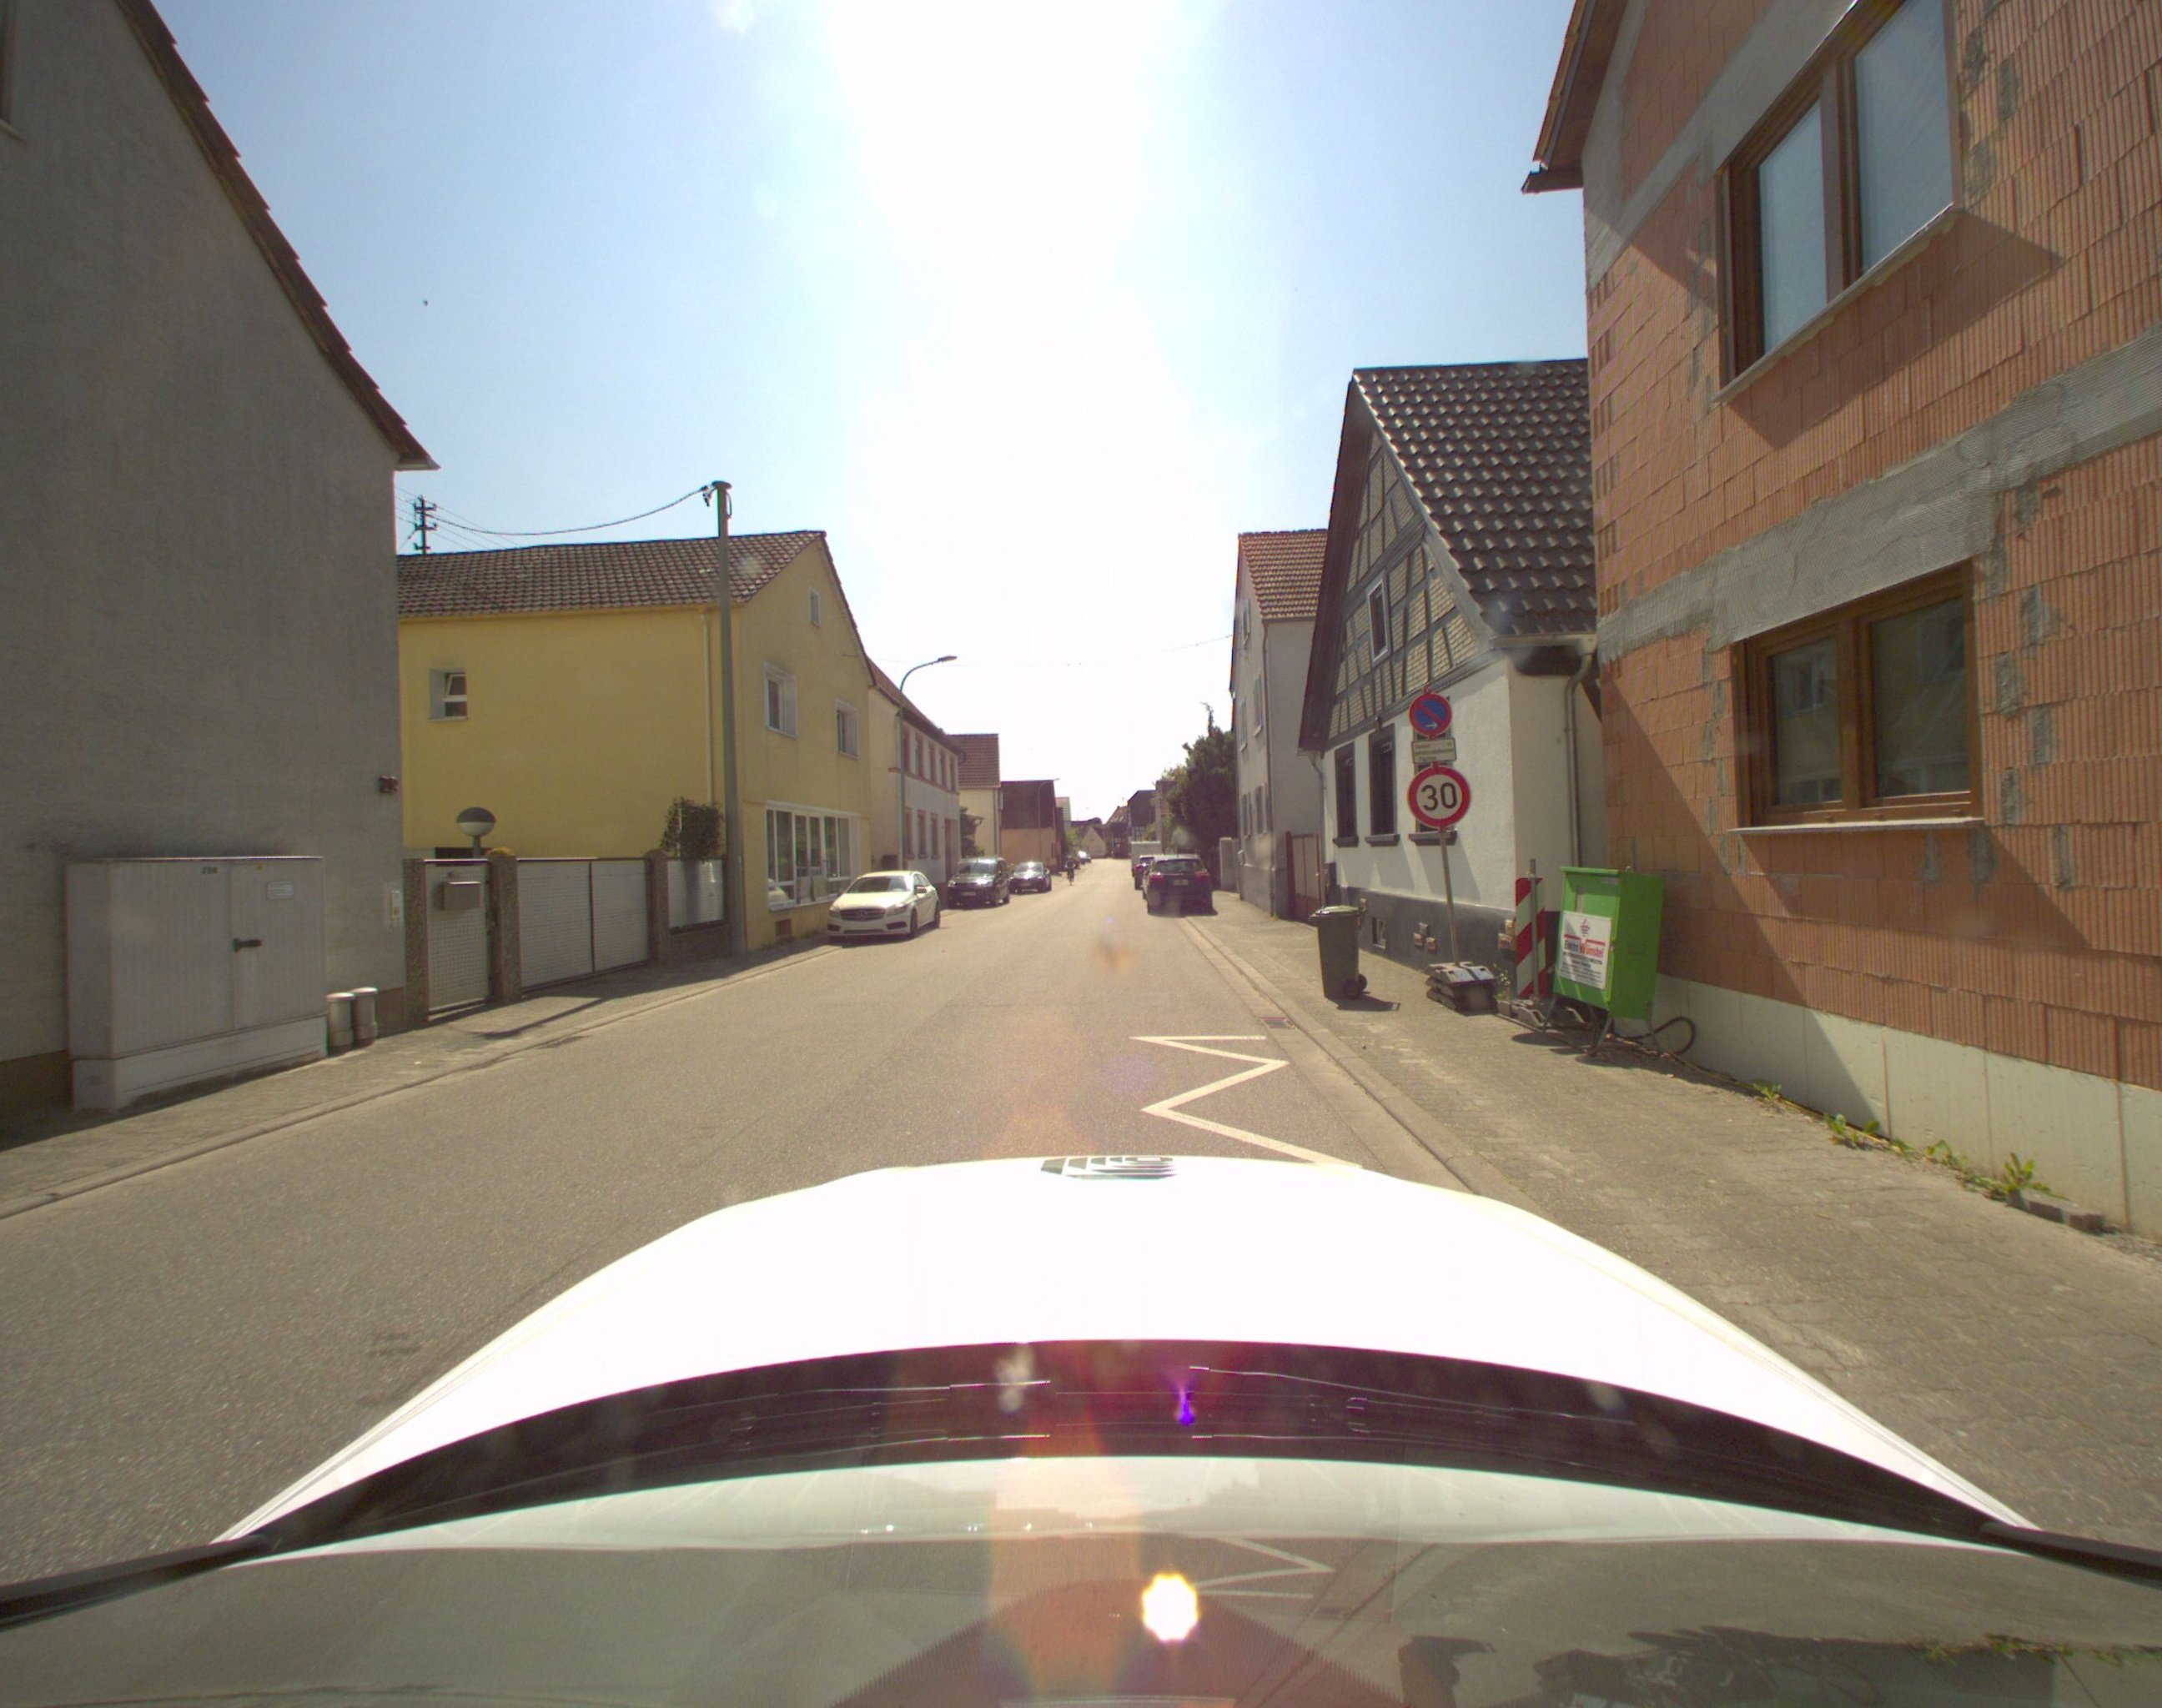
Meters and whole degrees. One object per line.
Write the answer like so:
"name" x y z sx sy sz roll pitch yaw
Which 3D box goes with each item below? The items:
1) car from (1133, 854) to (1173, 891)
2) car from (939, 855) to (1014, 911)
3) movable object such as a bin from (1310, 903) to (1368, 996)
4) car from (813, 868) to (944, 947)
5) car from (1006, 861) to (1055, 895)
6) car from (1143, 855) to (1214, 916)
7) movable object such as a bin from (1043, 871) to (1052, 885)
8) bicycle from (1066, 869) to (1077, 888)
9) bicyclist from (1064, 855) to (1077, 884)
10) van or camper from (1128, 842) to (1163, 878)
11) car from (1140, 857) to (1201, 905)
"car" 3.617 0.845 40.168 1.784 1.631 4.369 -3 0 7
"car" -3.759 0.993 29.950 1.826 1.837 4.358 -3 0 4
"movable object such as a bin" 2.766 1.004 8.704 0.533 0.913 0.554 -2 -1 20
"car" -4.440 1.111 18.564 1.829 1.464 4.270 -3 0 0
"car" -2.523 1.203 41.905 1.836 1.527 4.770 -3 0 4
"car" 2.767 0.841 23.927 1.789 1.560 4.636 -2 -1 4
"movable object such as a bin" -2.336 1.650 56.884 0.537 0.949 0.553 -1 0 3
"bicycle" -0.599 1.507 50.423 0.587 1.148 1.948 -3 0 0
"bicyclist" -0.646 0.969 50.533 0.701 1.771 0.624 -3 -1 -1
"van or camper" 5.017 0.474 64.249 2.512 2.697 4.558 -2 -1 2
"car" 3.119 0.901 29.219 1.812 1.508 4.584 -2 -1 2
